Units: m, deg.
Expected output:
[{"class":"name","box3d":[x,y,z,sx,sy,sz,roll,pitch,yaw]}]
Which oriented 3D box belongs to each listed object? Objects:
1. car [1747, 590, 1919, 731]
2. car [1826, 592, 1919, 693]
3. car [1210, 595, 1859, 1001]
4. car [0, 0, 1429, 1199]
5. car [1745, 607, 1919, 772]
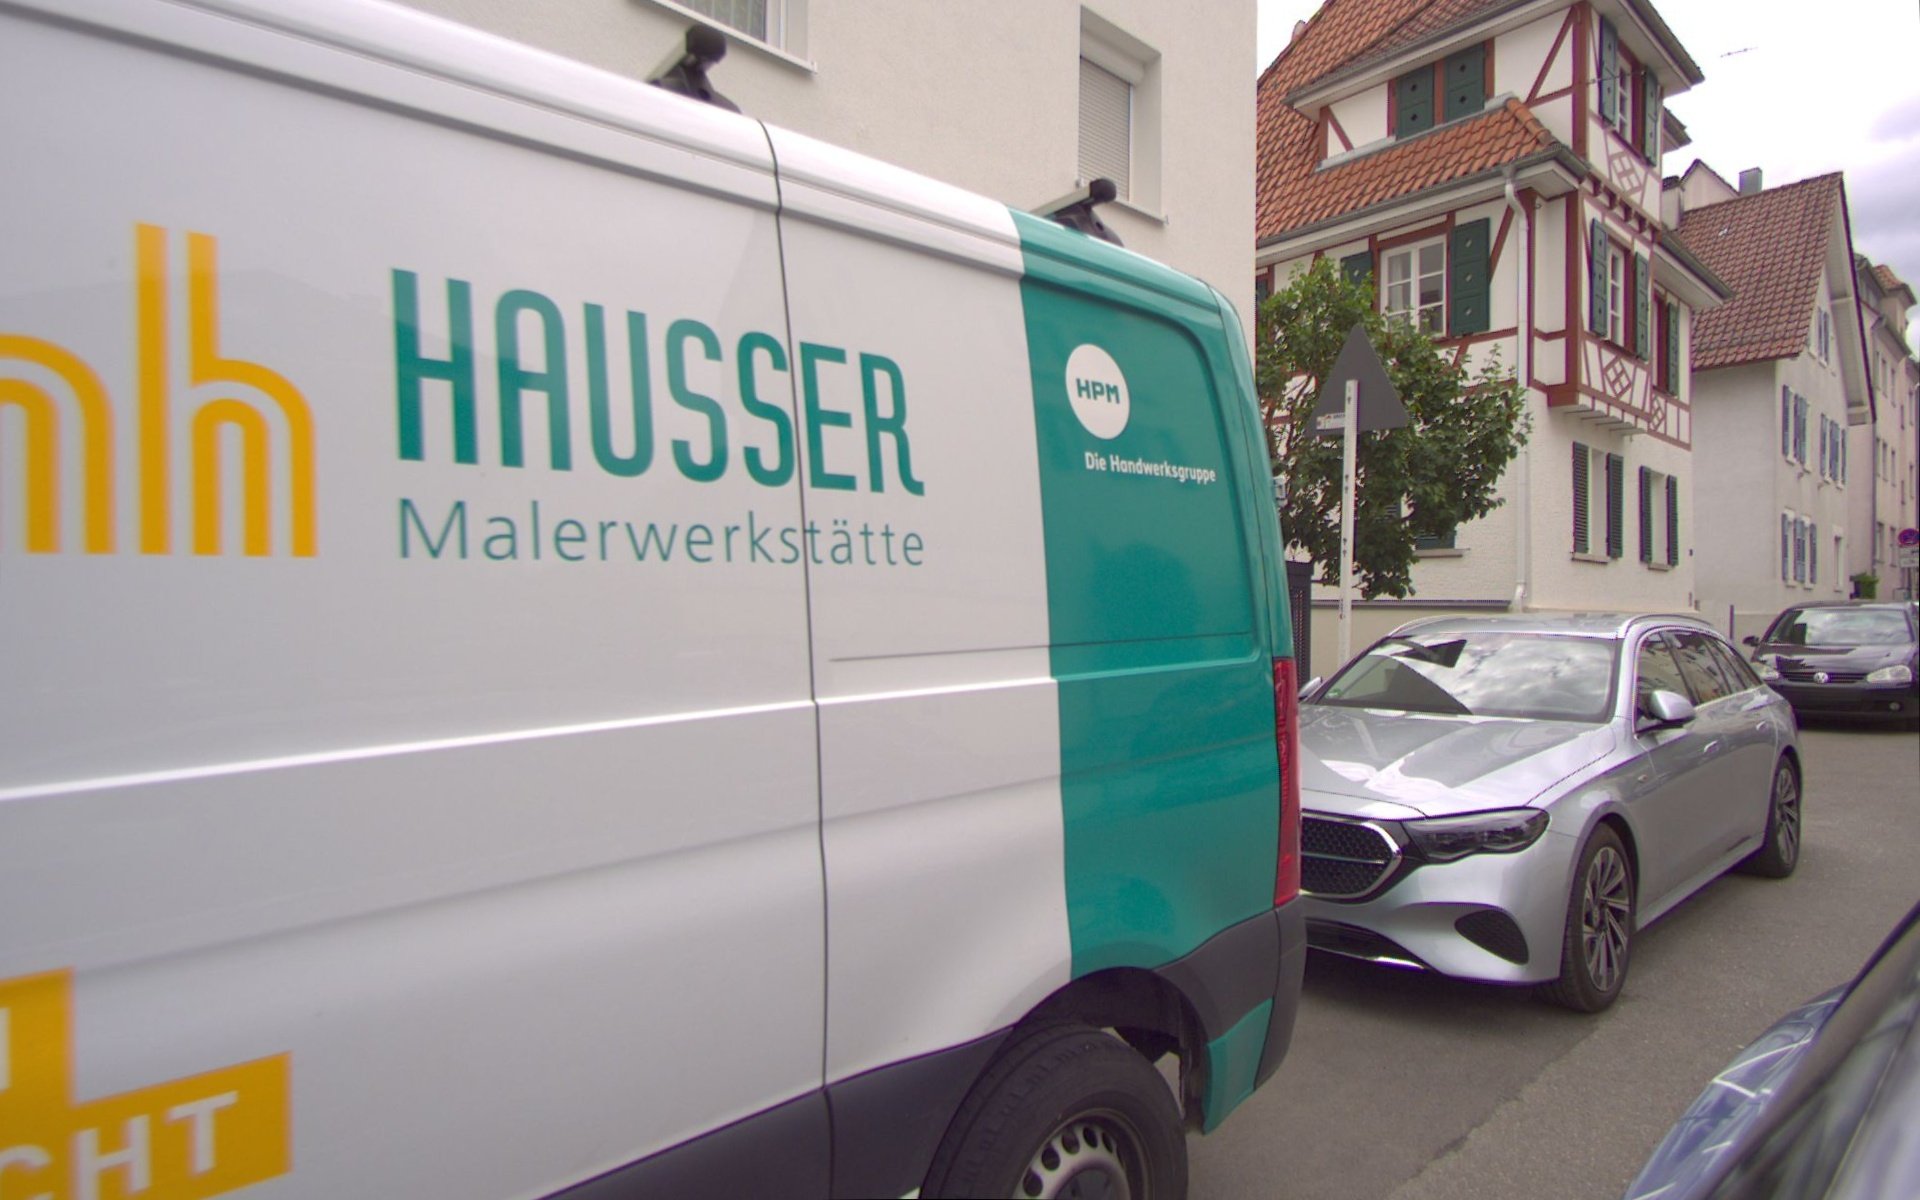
[{"class":"car","box3d":[11.441,0.656,12.785,3.953,1.508,1.607,-1,-1,-41]},{"class":"car","box3d":[14.969,0.584,15.797,4.163,1.411,1.627,-1,-1,-42]},{"class":"car","box3d":[3.515,0.738,5.821,4.305,1.463,1.828,-1,-1,-40]},{"class":"car","box3d":[-1.549,0.205,1.431,5.199,2.453,1.997,0,0,-40]},{"class":"car","box3d":[11.230,0.997,12.496,3.931,1.743,1.778,2,-2,-43]}]
